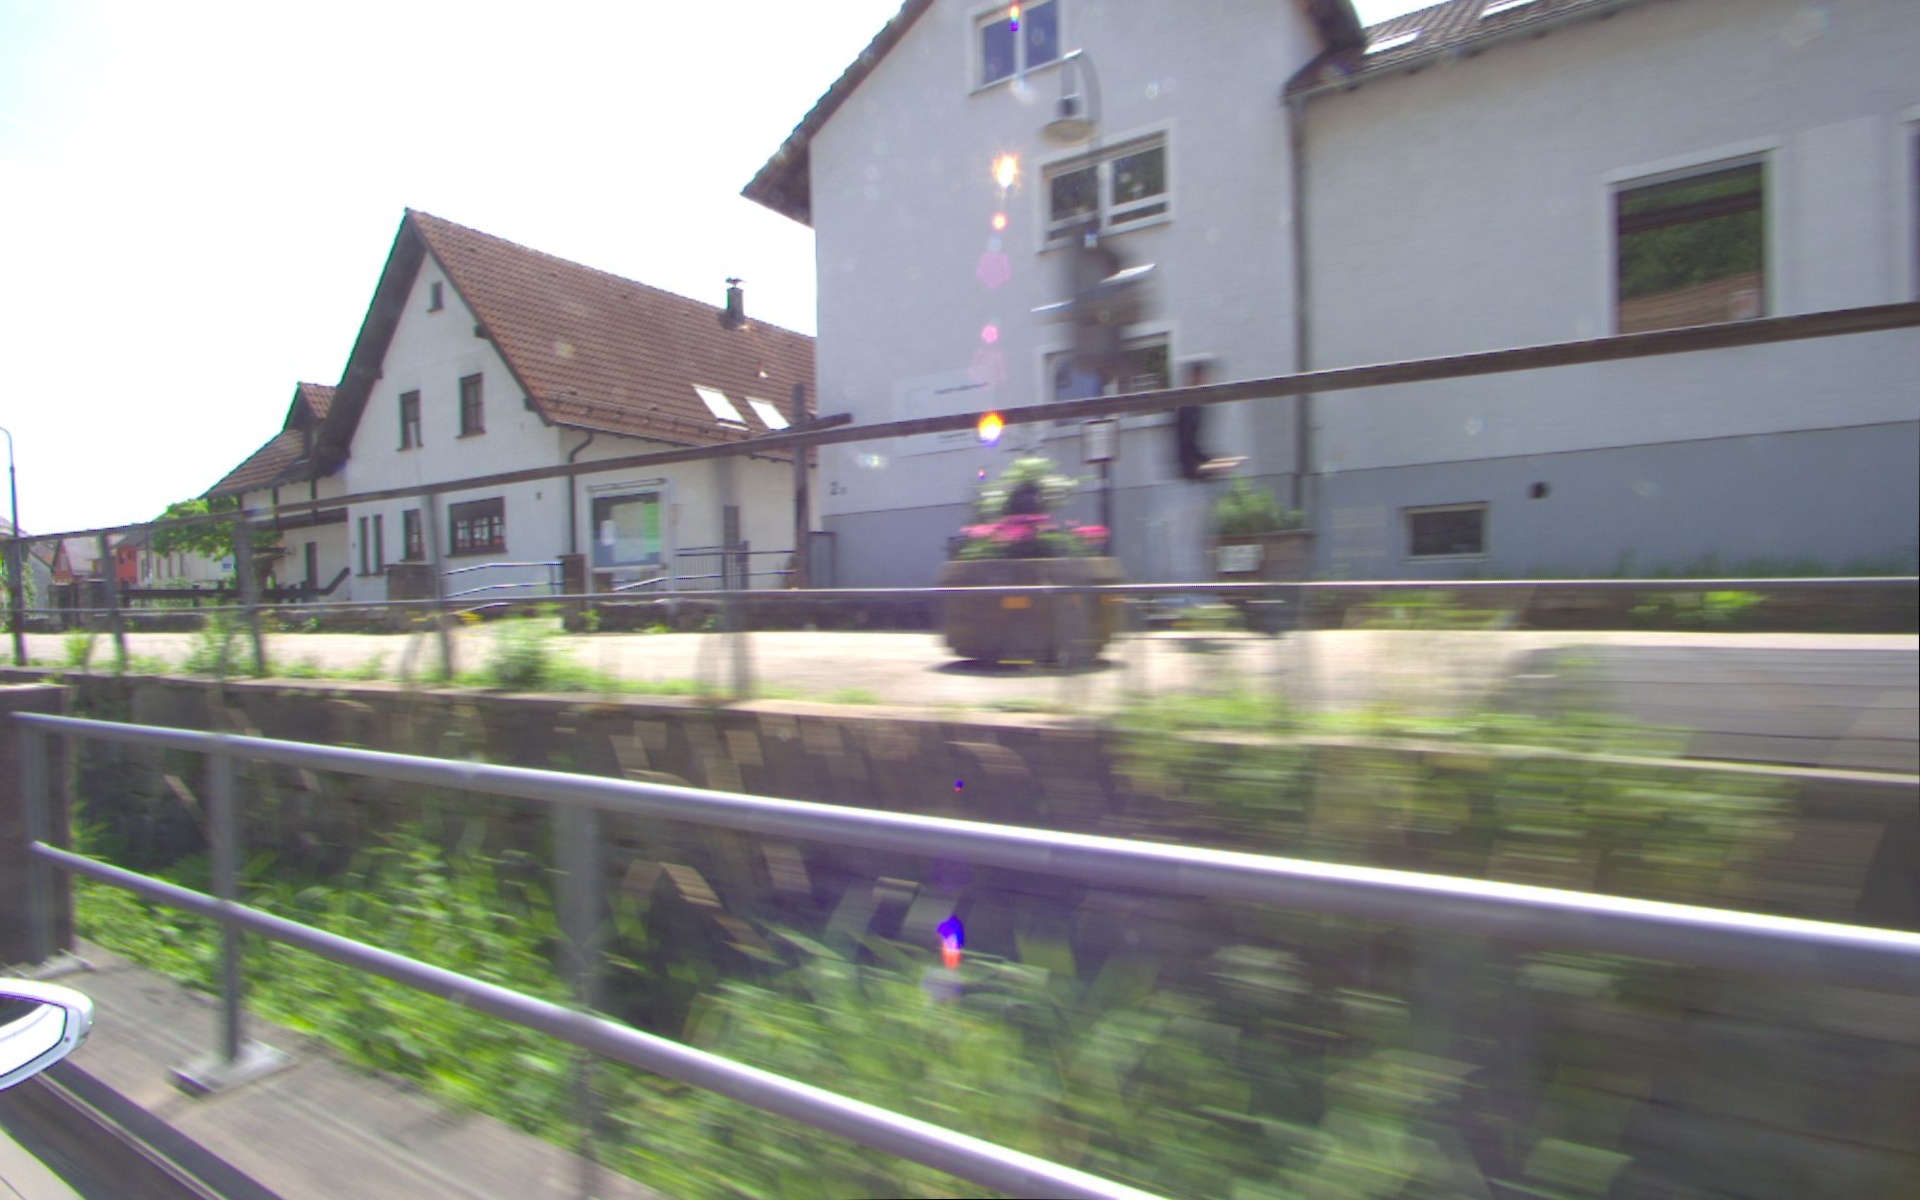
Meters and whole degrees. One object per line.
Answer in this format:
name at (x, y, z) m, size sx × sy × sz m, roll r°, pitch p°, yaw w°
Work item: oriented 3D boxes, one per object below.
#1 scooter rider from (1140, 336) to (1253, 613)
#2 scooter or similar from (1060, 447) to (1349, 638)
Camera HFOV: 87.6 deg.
scooter rider at (1.616, -0.795, 6.803) m, size 0.546 × 1.754 × 0.640 m, roll -1°, pitch 0°, yaw 33°
scooter or similar at (1.638, -0.335, 6.821) m, size 1.786 × 1.157 × 0.639 m, roll -1°, pitch 1°, yaw 34°
